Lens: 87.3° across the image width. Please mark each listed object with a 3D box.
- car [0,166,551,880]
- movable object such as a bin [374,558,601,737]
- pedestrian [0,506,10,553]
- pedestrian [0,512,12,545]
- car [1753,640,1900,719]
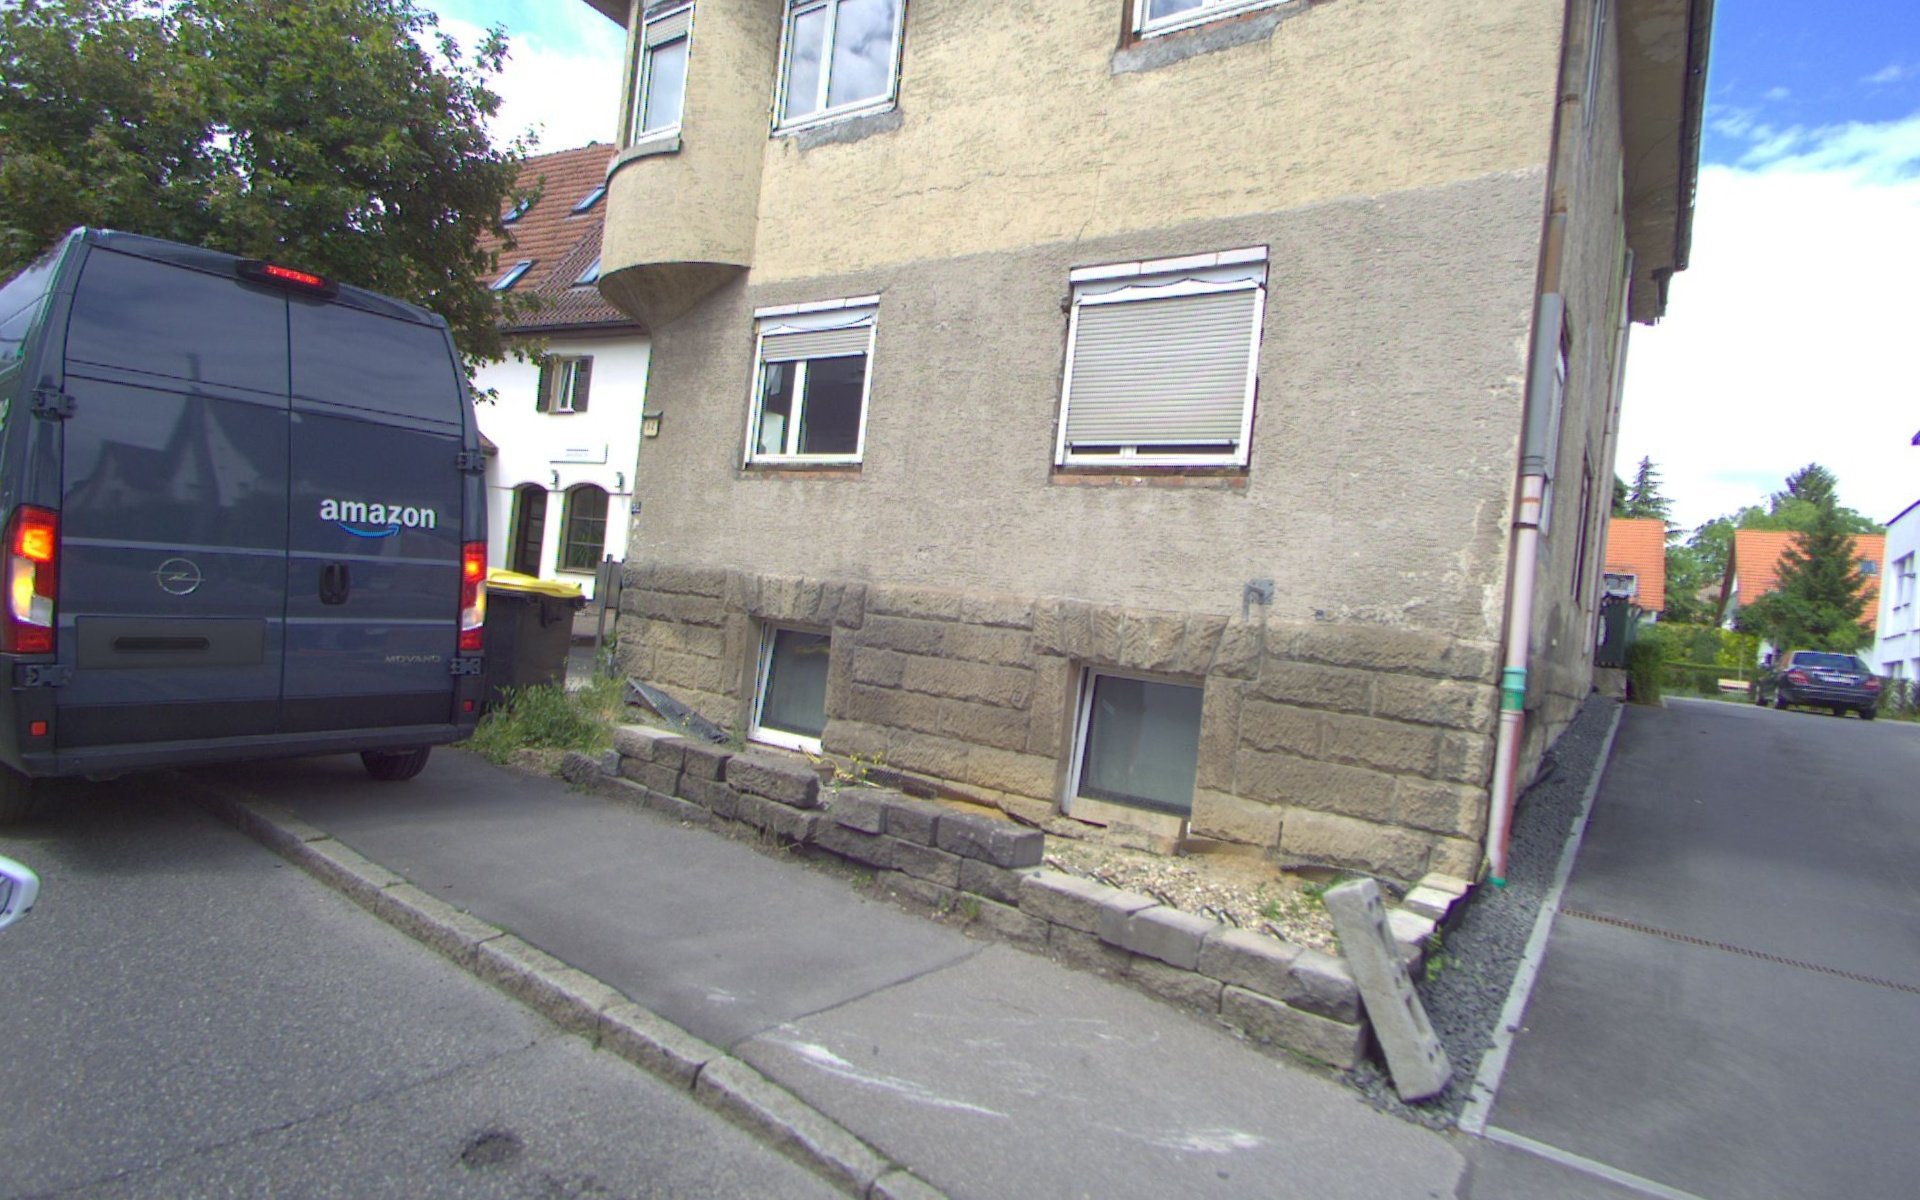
[{"bbox_3d":[-5.451,-0.439,6.702,6.159,2.804,2.146,6,-1,40],"label":"car"},{"bbox_3d":[-3.979,0.397,8.605,1.186,1.281,1.187,7,-1,6],"label":"movable object such as a bin"},{"bbox_3d":[-36.913,-2.725,38.470,0.663,1.783,0.429,6,-1,17],"label":"pedestrian"},{"bbox_3d":[-33.423,-2.529,34.794,0.622,1.101,0.568,7,-1,12],"label":"pedestrian"},{"bbox_3d":[20.088,1.893,23.501,1.823,1.491,3.994,6,-2,32],"label":"car"}]
